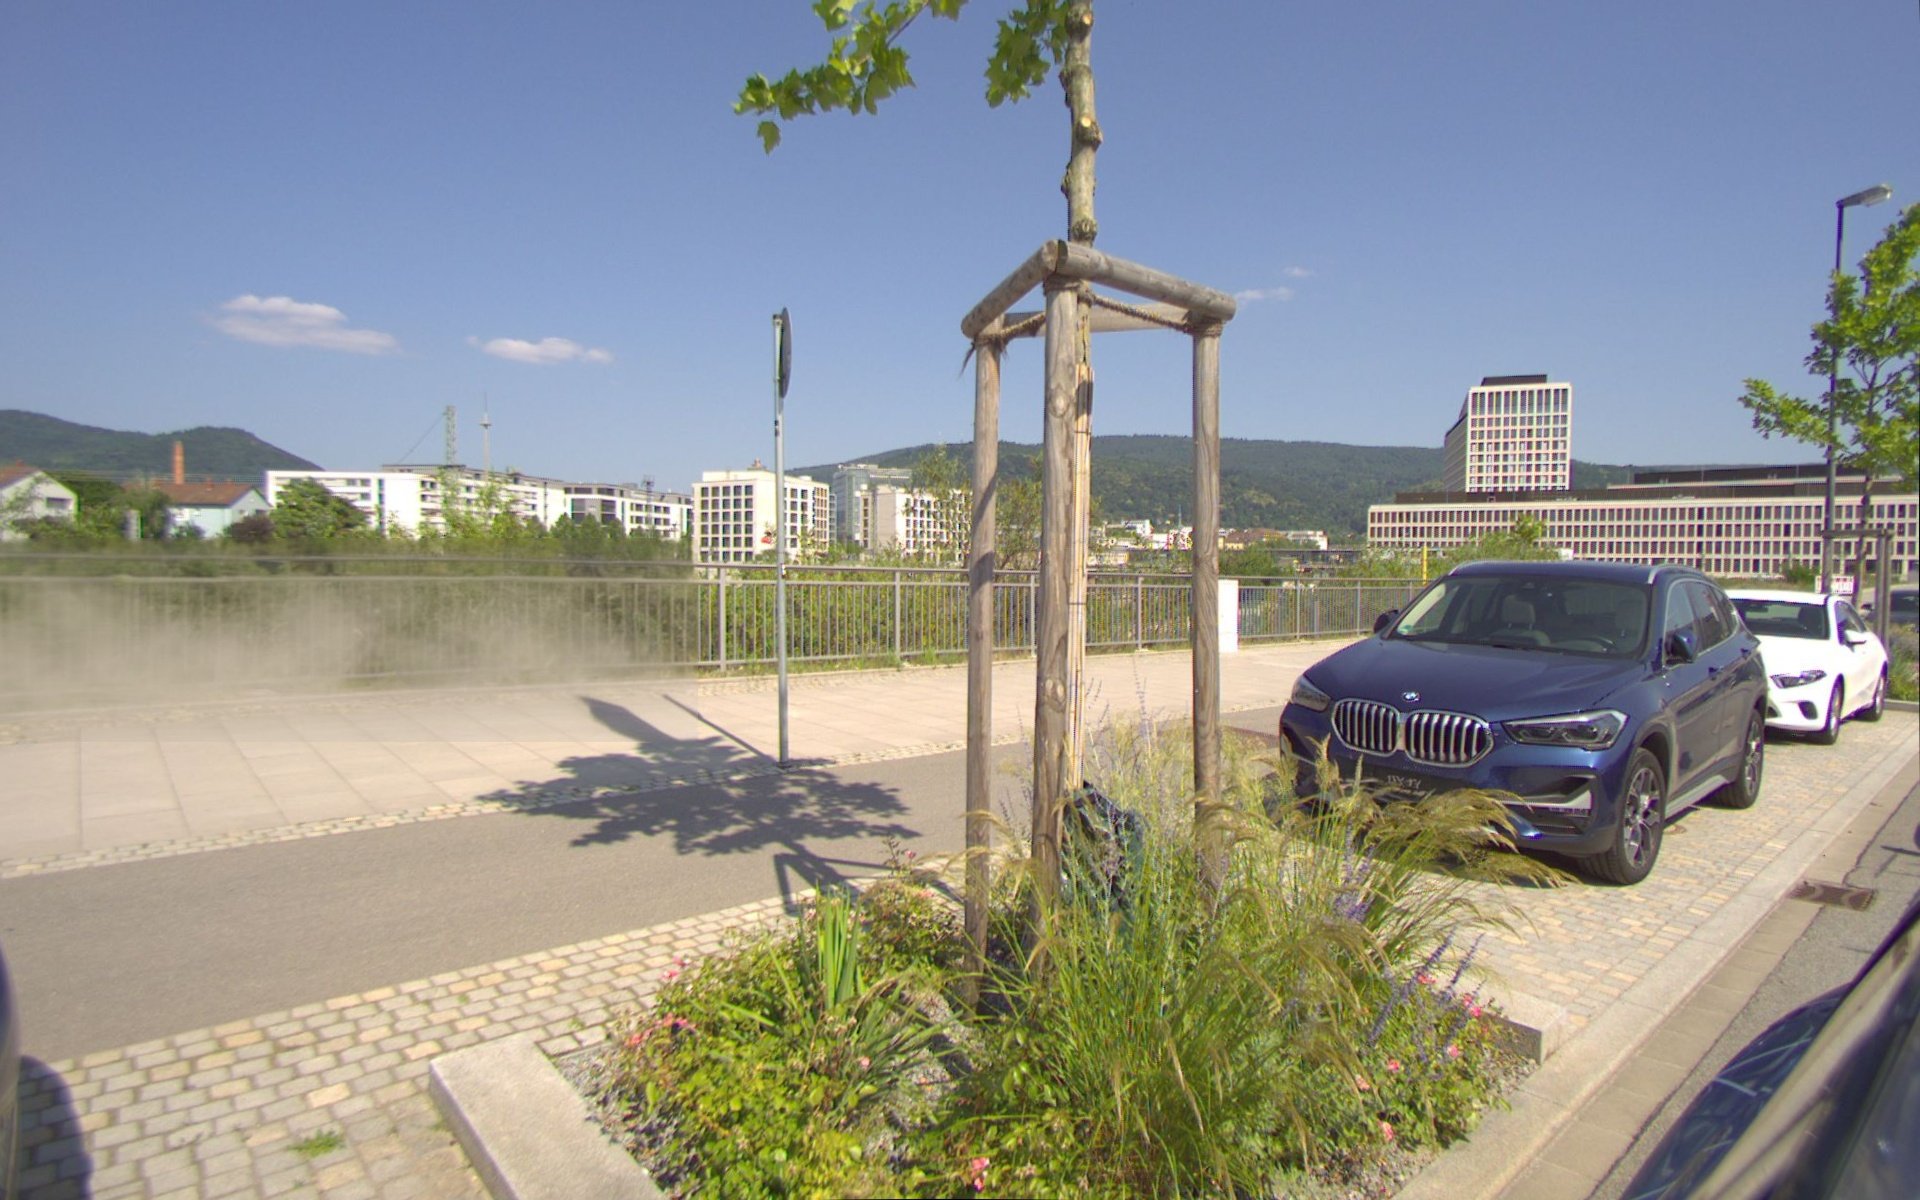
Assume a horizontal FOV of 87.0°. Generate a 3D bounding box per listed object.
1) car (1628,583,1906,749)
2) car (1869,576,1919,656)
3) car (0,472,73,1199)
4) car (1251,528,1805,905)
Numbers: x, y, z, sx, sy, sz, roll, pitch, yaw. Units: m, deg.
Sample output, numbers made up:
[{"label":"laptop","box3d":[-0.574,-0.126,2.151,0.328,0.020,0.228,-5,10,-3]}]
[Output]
[{"label":"car","box3d":[8.803,0.561,10.926,3.930,1.473,1.663,-1,0,-41]},{"label":"car","box3d":[20.372,0.291,21.077,3.930,1.558,1.663,-1,0,-41]},{"label":"car","box3d":[-2.981,0.566,0.391,3.930,1.444,1.664,-1,3,-41]},{"label":"car","box3d":[3.793,0.479,6.418,4.164,1.627,1.768,-1,0,-41]}]
